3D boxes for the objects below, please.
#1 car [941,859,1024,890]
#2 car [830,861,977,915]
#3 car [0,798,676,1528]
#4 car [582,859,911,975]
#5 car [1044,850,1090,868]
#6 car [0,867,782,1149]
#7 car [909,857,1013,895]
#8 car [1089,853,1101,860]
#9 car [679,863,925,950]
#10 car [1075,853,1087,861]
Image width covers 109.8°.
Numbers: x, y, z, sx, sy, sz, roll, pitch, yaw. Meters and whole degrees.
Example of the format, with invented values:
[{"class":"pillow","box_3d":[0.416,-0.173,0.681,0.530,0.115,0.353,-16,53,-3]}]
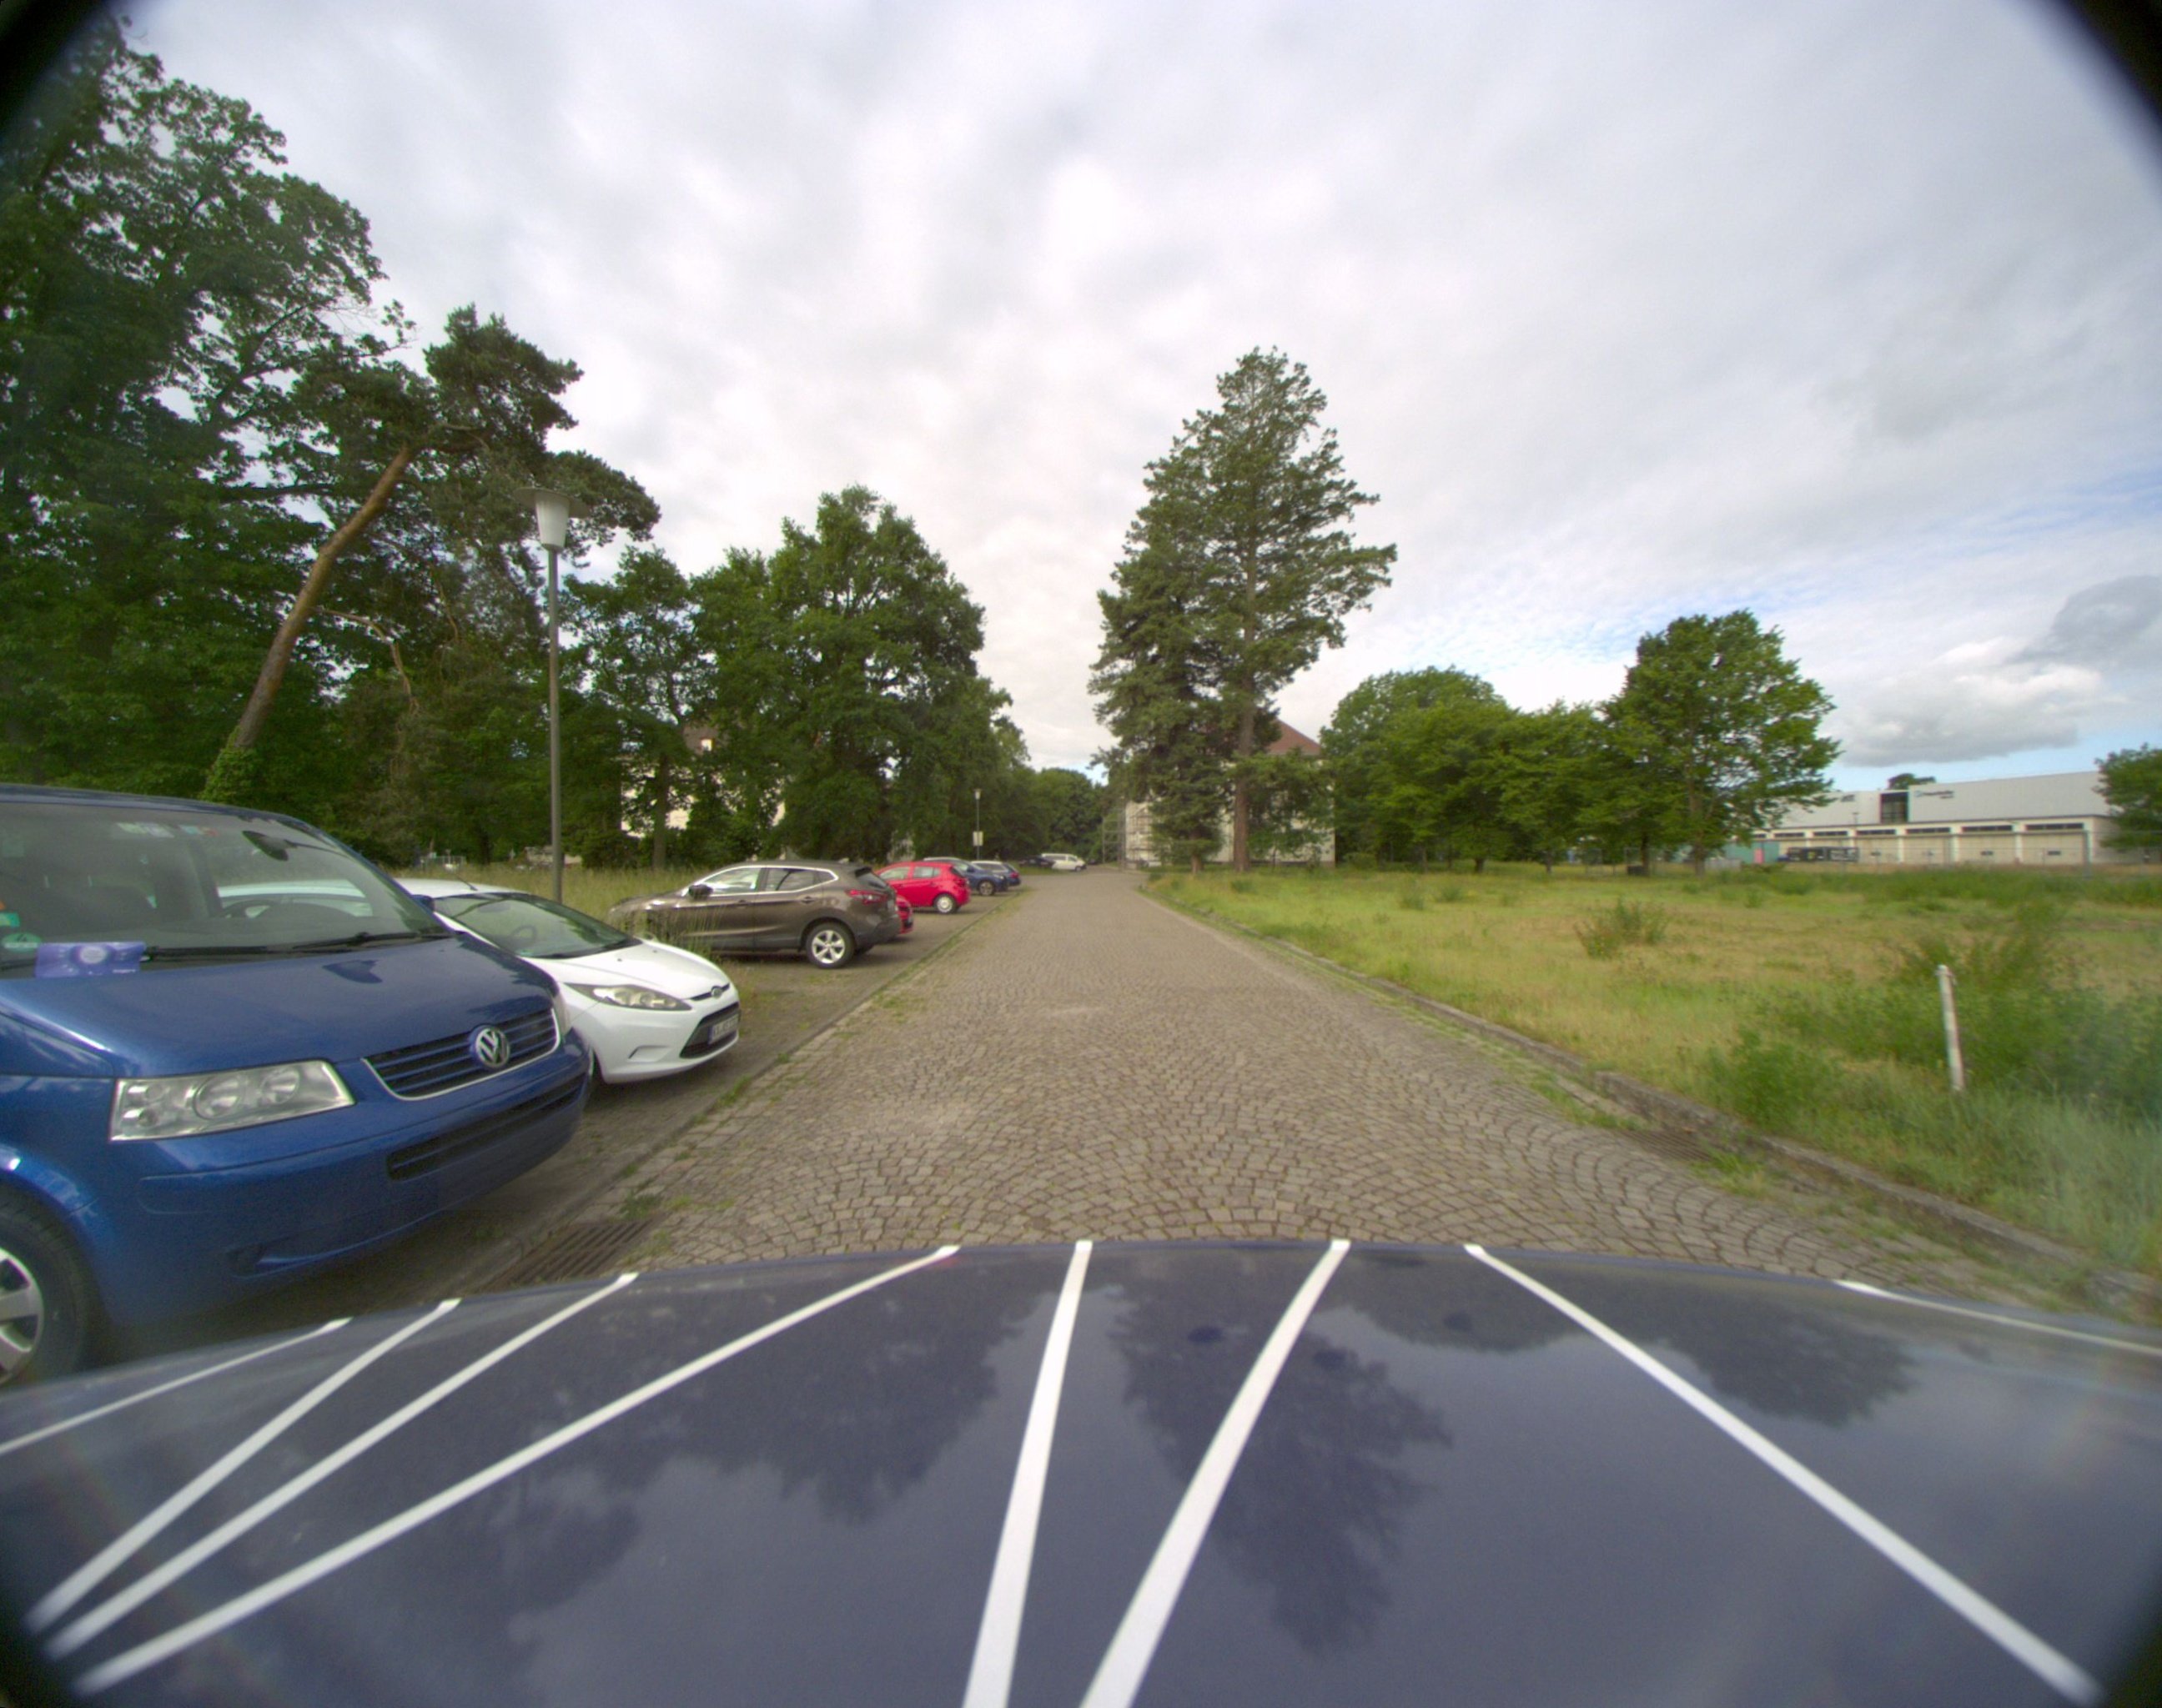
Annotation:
[{"class":"car","box_3d":[-4.740,0.981,36.961,3.878,1.417,1.582,1,0,-2]},{"class":"car","box_3d":[-5.083,0.955,22.054,3.895,1.451,1.582,1,0,-2]},{"class":"car","box_3d":[-4.543,0.781,2.948,4.820,1.934,2.002,1,0,-2]},{"class":"car","box_3d":[-4.979,0.917,11.778,4.271,1.589,1.821,1,0,-2]},{"class":"car","box_3d":[-1.578,0.548,85.802,5.141,1.860,1.723,1,0,-2]},{"class":"car","box_3d":[-4.487,0.950,5.474,3.873,1.463,1.841,3,0,-2]},{"class":"car","box_3d":[-5.040,0.913,32.296,4.150,1.529,1.582,1,0,-2]},{"class":"car","box_3d":[2.843,0.554,152.818,1.870,1.408,4.694,1,0,-5]},{"class":"car","box_3d":[-5.178,0.954,14.503,4.016,1.477,1.765,1,0,0]},{"class":"car","box_3d":[-0.037,0.617,152.237,1.870,1.408,4.694,1,0,-5]}]
